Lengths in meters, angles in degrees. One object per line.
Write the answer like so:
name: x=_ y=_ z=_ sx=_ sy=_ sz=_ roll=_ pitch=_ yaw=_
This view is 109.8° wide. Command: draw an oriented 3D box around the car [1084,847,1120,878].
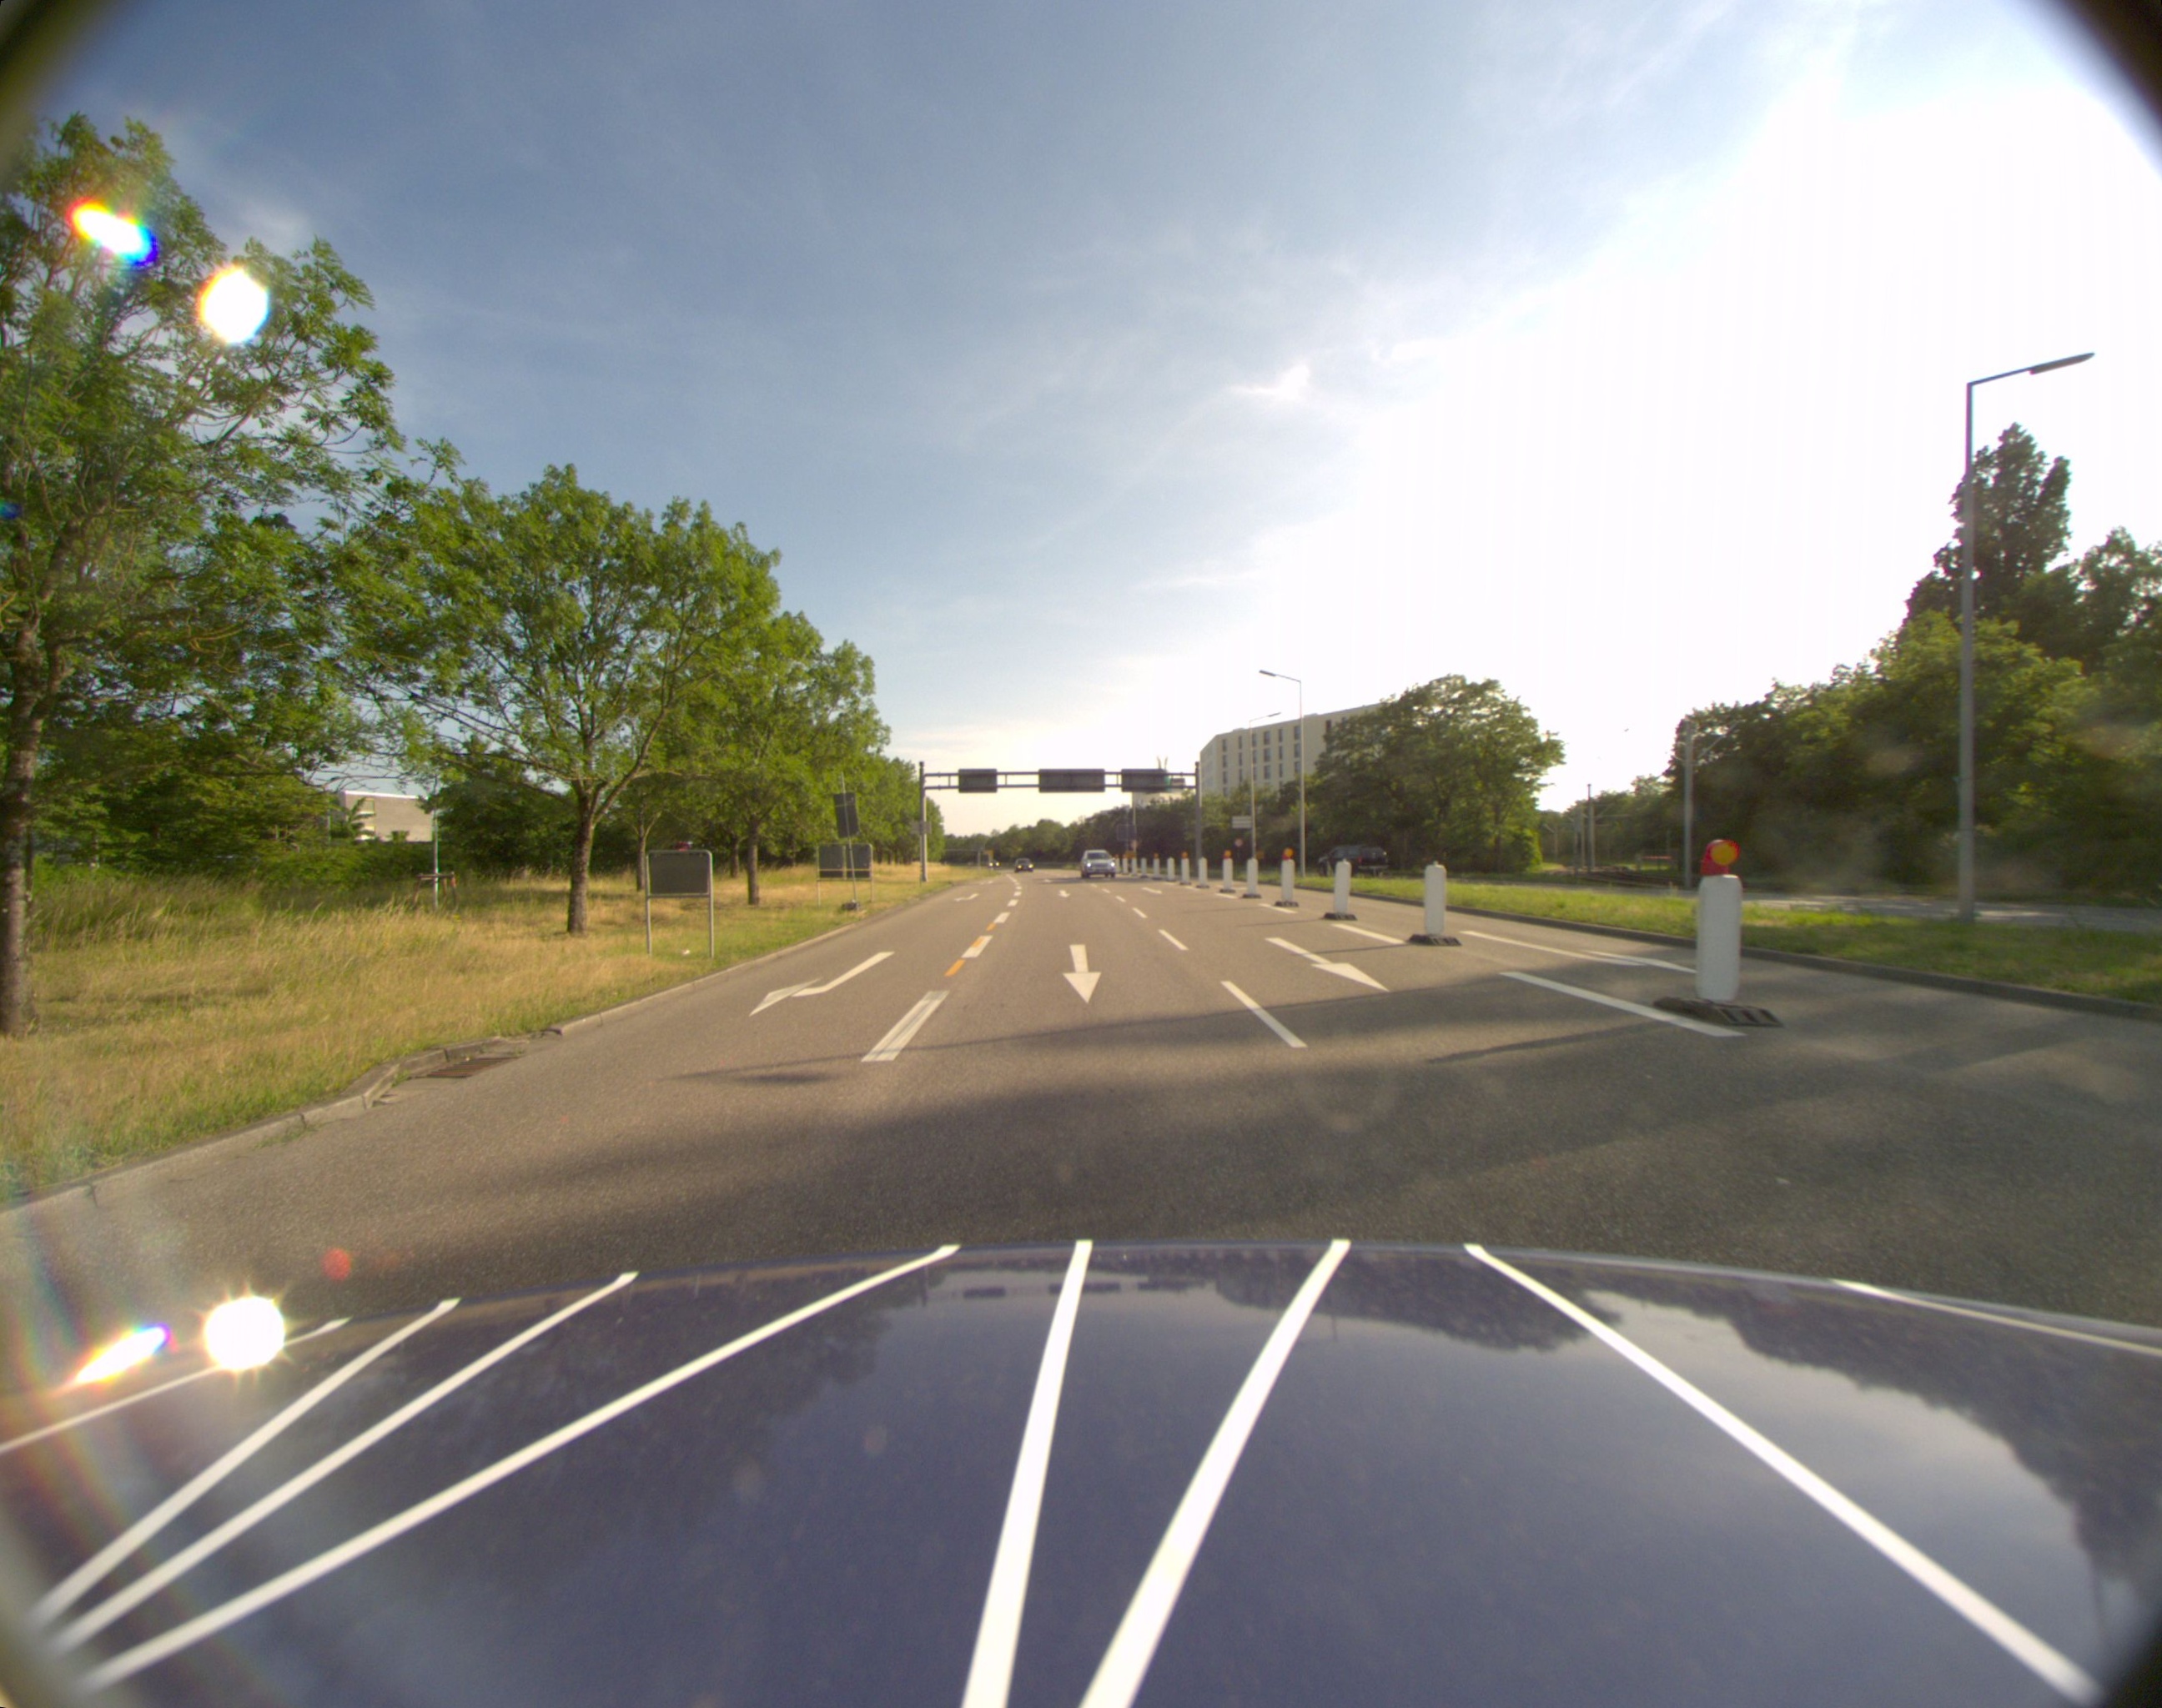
car: x=1.298 y=0.534 z=48.740 sx=1.901 sy=1.813 sz=4.354 roll=-2 pitch=0 yaw=-3

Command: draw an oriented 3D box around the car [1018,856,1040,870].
car: x=-5.461 y=0.954 z=79.584 sx=1.902 sy=1.377 sz=4.352 roll=-3 pitch=0 yaw=-9

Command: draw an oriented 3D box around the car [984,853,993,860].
car: x=-25.750 y=0.673 z=211.278 sx=1.791 sy=1.796 sz=4.119 roll=-1 pitch=0 yaw=-13

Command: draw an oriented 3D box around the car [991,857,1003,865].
car: x=-16.796 y=1.386 z=151.714 sx=1.897 sy=1.447 sz=3.903 roll=-1 pitch=1 yaw=-16

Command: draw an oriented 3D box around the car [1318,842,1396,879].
car: x=16.190 y=0.362 z=44.942 sx=2.000 sy=2.002 sz=5.353 roll=-1 pitch=0 yaw=-9
